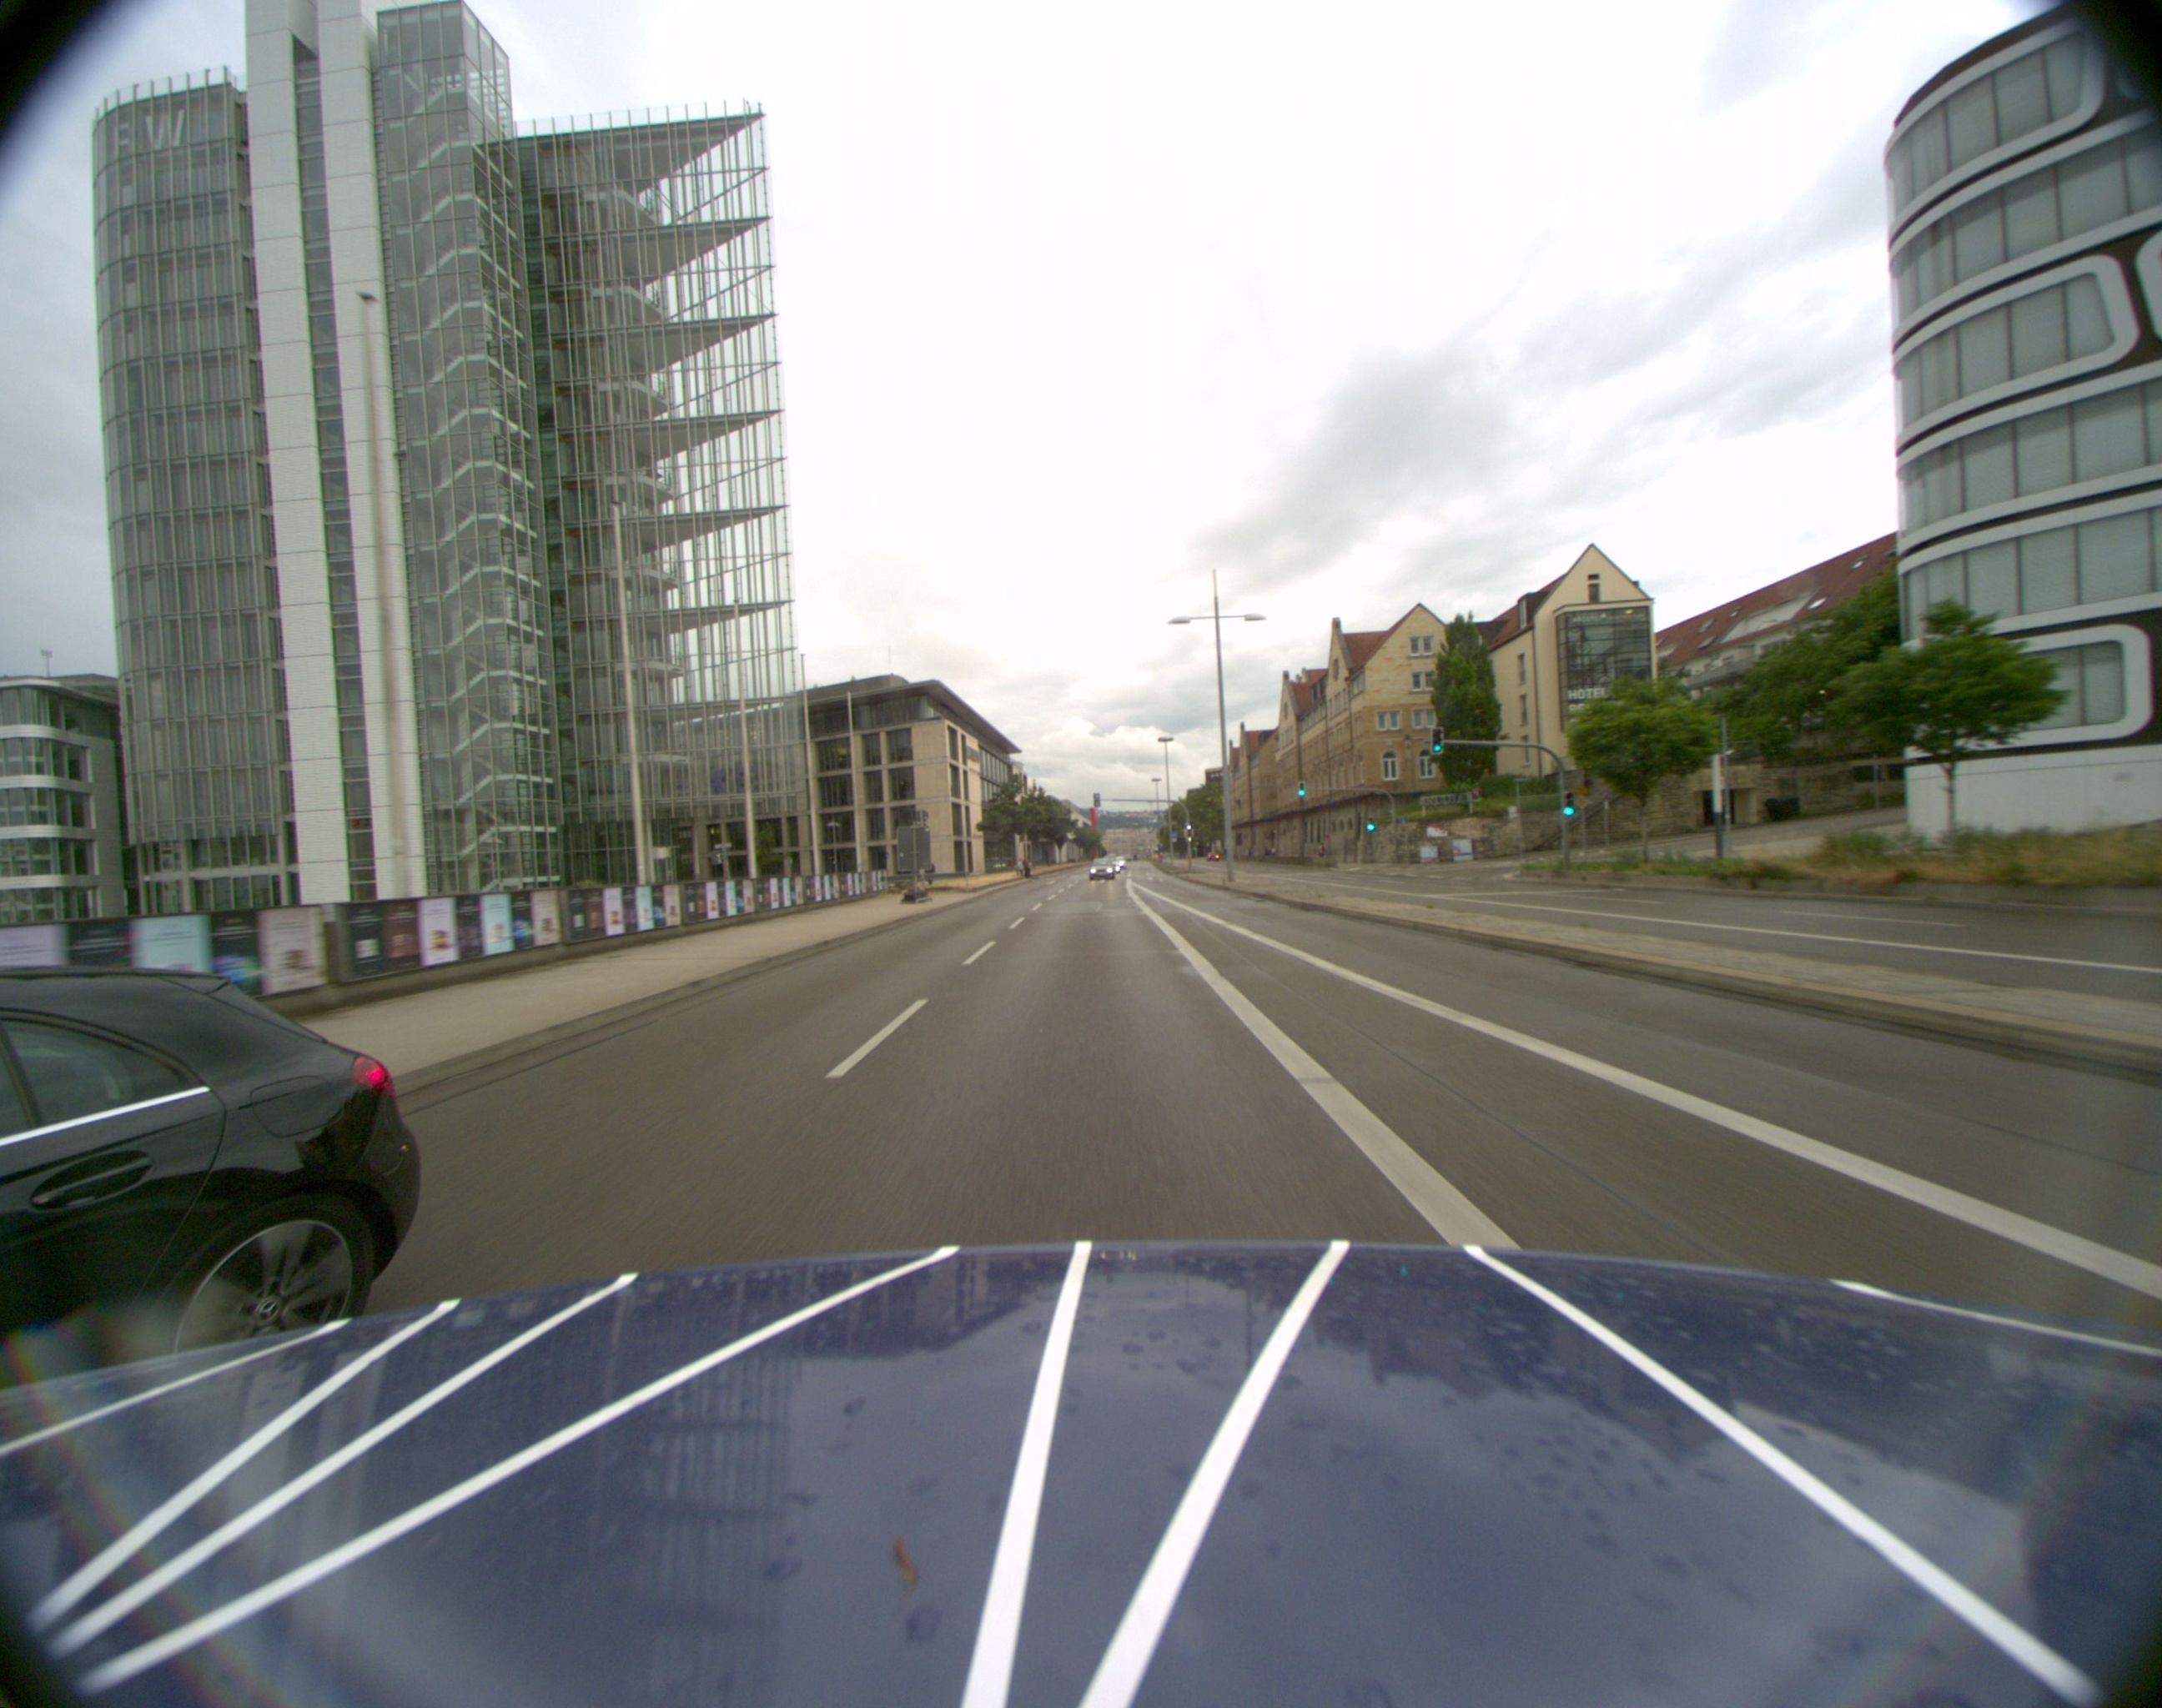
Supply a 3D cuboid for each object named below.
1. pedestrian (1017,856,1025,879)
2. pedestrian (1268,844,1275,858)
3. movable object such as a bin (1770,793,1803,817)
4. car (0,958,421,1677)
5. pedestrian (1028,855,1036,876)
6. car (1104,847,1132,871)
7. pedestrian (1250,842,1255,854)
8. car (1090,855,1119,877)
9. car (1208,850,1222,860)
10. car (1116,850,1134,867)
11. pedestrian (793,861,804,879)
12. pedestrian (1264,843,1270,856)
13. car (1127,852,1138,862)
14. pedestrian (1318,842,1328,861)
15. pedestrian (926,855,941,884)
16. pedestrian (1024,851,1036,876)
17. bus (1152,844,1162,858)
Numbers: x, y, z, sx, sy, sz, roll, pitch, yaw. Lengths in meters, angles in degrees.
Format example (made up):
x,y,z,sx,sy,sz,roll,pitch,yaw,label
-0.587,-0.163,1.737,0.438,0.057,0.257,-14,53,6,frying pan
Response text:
x,y,z,sx,sy,sz,roll,pitch,yaw,label
-4.299,0.966,54.431,0.461,1.590,0.655,-3,2,-12,pedestrian
23.741,-0.367,94.704,0.677,1.769,0.684,-2,2,4,pedestrian
42.735,-2.975,46.035,0.826,1.236,1.118,-10,-1,3,movable object such as a bin
-3.158,1.110,0.537,1.727,1.368,4.154,-2,1,-1,car
-3.558,0.844,55.203,0.542,1.519,0.600,-2,2,-3,pedestrian
3.212,0.403,66.994,1.999,2.002,3.998,-2,1,-3,car
26.303,-0.896,116.633,0.677,1.769,0.684,-2,2,4,pedestrian
1.589,0.795,52.598,1.684,1.379,3.474,-2,1,-2,car
21.737,0.118,123.637,1.714,1.455,4.001,-3,0,4,car
5.167,0.501,88.143,1.970,1.815,3.929,-3,-1,4,car
-27.016,1.539,72.743,0.634,1.735,0.635,-2,2,24,pedestrian
24.990,-0.570,101.990,0.677,1.769,0.684,-2,2,4,pedestrian
11.359,0.687,168.380,1.999,2.002,3.998,-2,1,-3,car
22.605,-0.265,70.883,0.677,1.769,0.684,-2,2,4,pedestrian
-8.527,0.897,43.979,0.660,1.601,0.547,-3,0,4,pedestrian
-3.756,0.710,56.116,0.728,1.761,0.783,-2,2,-1,pedestrian
21.365,-0.795,213.826,2.499,3.317,8.455,-3,-5,4,bus
